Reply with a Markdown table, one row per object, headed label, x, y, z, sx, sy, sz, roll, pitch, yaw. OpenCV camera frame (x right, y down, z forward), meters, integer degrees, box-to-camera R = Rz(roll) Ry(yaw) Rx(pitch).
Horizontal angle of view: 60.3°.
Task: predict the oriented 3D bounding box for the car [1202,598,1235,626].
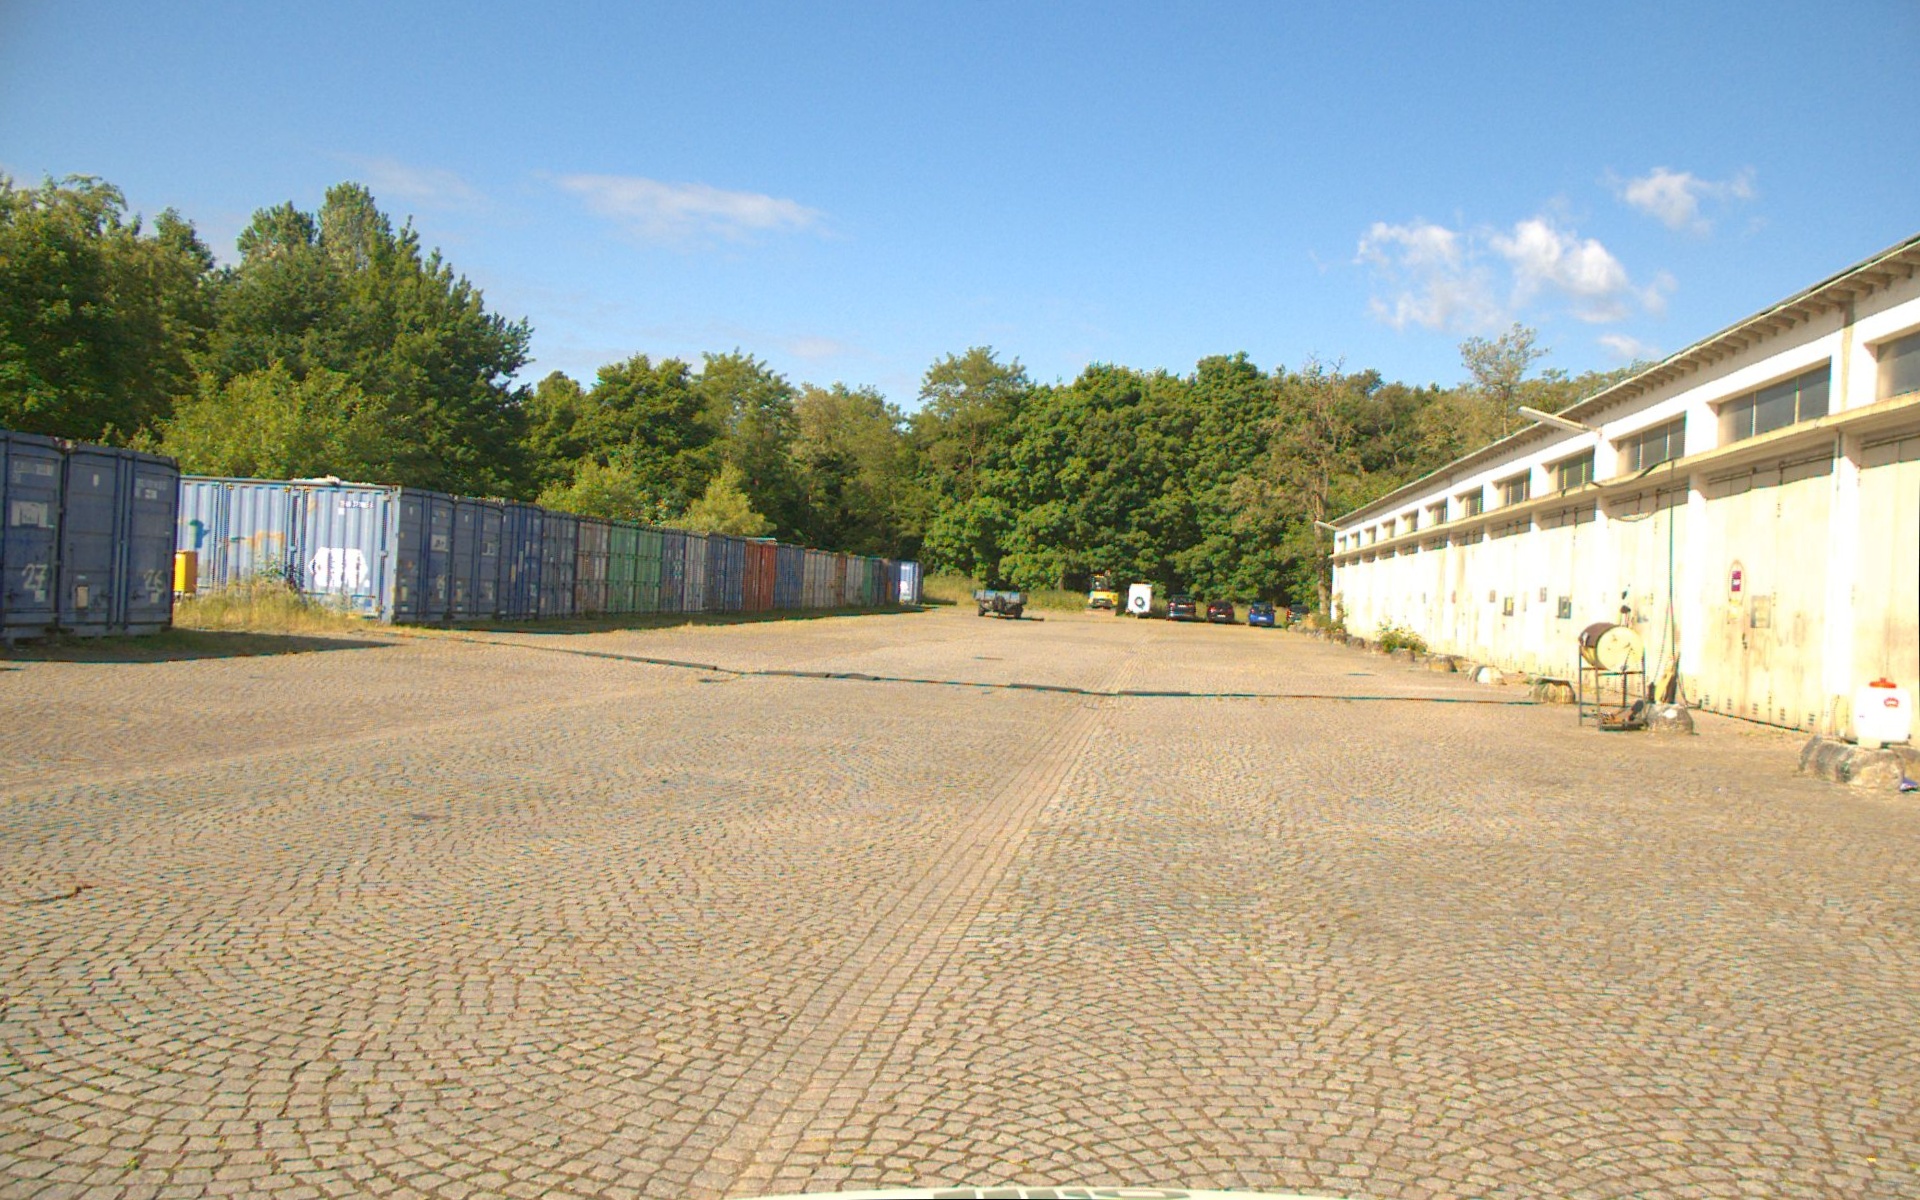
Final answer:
| label | x | y | z | sx | sy | sz | roll | pitch | yaw |
| --- | --- | --- | --- | --- | --- | --- | --- | --- | --- |
| car | 16.386 | 0.733 | 104.841 | 1.824 | 1.495 | 4.299 | 5 | 2 | 7 |

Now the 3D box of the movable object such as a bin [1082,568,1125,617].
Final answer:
| label | x | y | z | sx | sy | sz | roll | pitch | yaw |
| --- | --- | --- | --- | --- | --- | --- | --- | --- | --- |
| movable object such as a bin | 9.422 | -0.564 | 108.378 | 2.258 | 2.946 | 5.756 | 5 | 2 | 8 |

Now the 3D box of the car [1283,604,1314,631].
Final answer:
| label | x | y | z | sx | sy | sz | roll | pitch | yaw |
| --- | --- | --- | --- | --- | --- | --- | --- | --- | --- |
| car | 21.613 | 1.092 | 105.520 | 1.708 | 1.461 | 4.186 | 5 | 2 | 14 |

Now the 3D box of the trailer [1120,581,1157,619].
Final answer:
| label | x | y | z | sx | sy | sz | roll | pitch | yaw |
| --- | --- | --- | --- | --- | --- | --- | --- | --- | --- |
| trailer | 11.631 | -0.020 | 107.490 | 2.147 | 2.130 | 5.756 | 5 | 2 | 7 |

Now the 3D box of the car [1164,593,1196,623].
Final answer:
| label | x | y | z | sx | sy | sz | roll | pitch | yaw |
| --- | --- | --- | --- | --- | --- | --- | --- | --- | --- |
| car | 13.932 | 0.489 | 104.789 | 1.824 | 1.616 | 4.299 | 5 | 2 | 7 |

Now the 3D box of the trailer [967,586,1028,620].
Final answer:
| label | x | y | z | sx | sy | sz | roll | pitch | yaw |
| --- | --- | --- | --- | --- | --- | --- | --- | --- | --- |
| trailer | 2.069 | 0.132 | 88.457 | 2.649 | 1.491 | 6.252 | 5 | 1 | 6 |

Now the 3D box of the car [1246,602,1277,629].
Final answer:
| label | x | y | z | sx | sy | sz | roll | pitch | yaw |
| --- | --- | --- | --- | --- | --- | --- | --- | --- | --- |
| car | 19.058 | 0.947 | 104.431 | 1.707 | 1.461 | 4.187 | 5 | 2 | 12 |
